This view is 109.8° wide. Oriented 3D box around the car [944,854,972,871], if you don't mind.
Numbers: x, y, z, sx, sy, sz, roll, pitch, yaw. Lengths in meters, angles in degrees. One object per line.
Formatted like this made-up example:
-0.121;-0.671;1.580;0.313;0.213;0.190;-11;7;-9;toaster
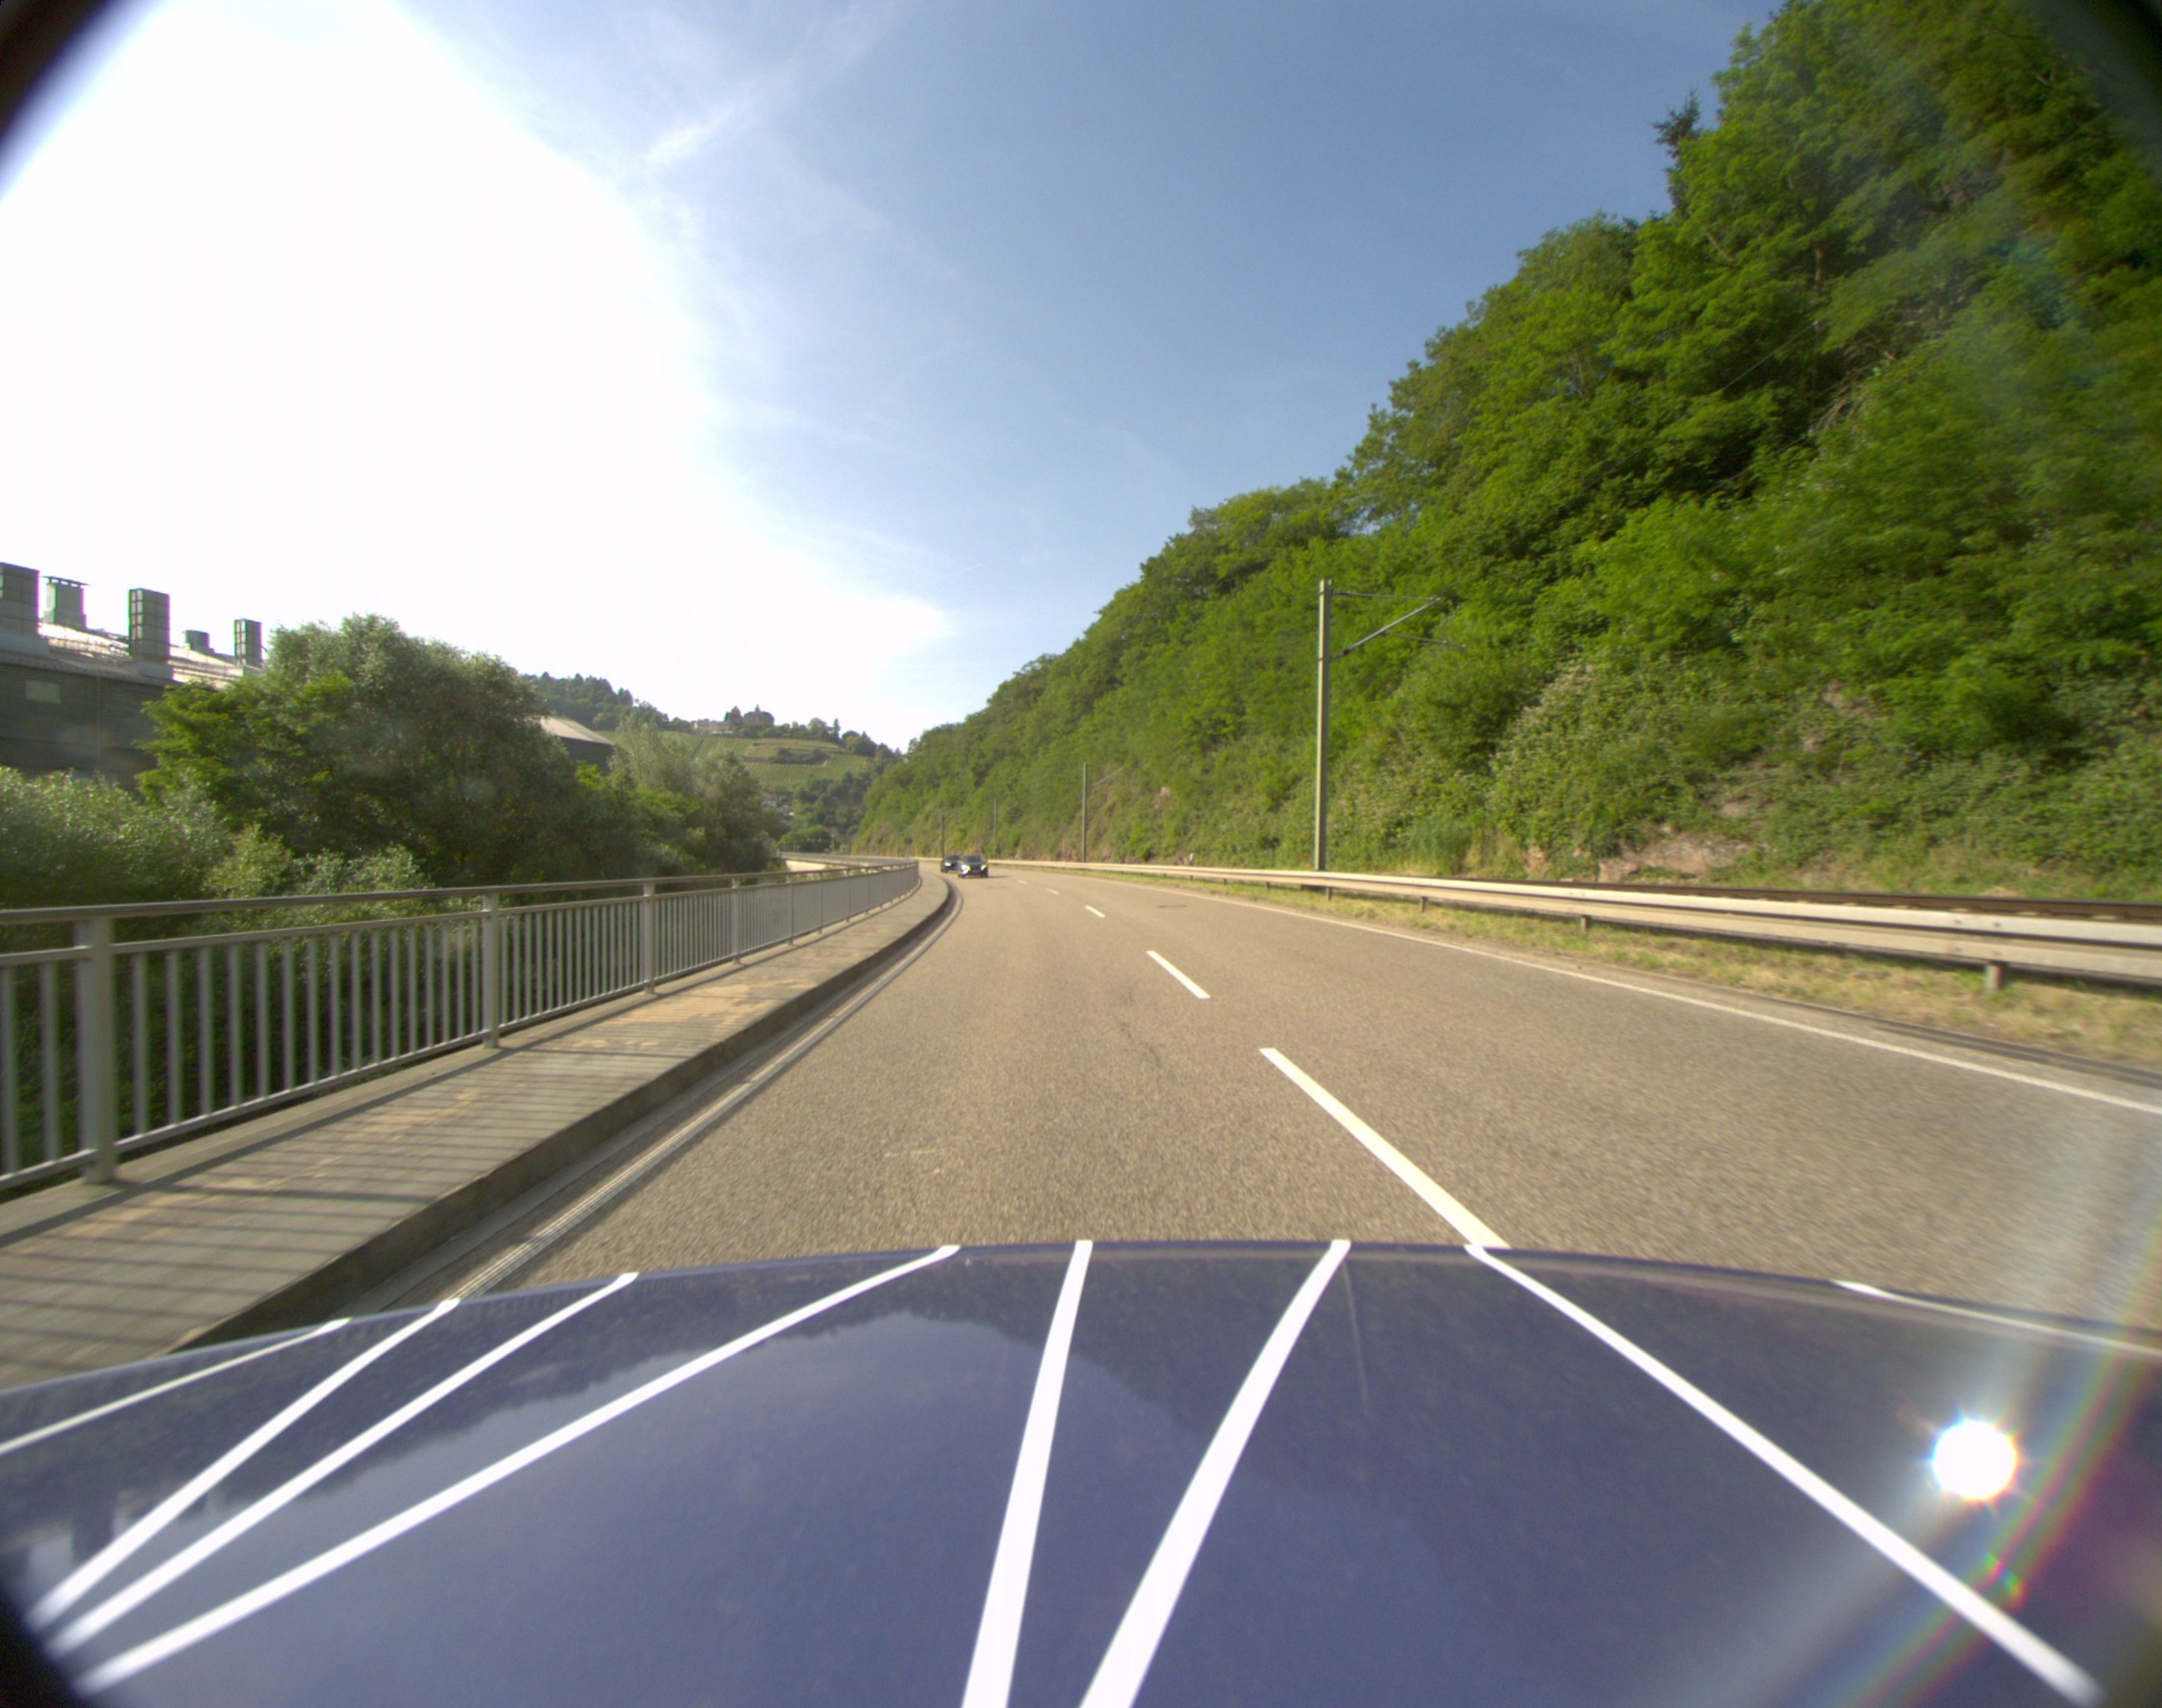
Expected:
-11.196;0.770;68.894;2.001;1.384;3.995;3;-1;-15;car

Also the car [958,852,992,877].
-7.574;0.715;54.063;1.865;1.576;3.994;-1;1;-15;car
